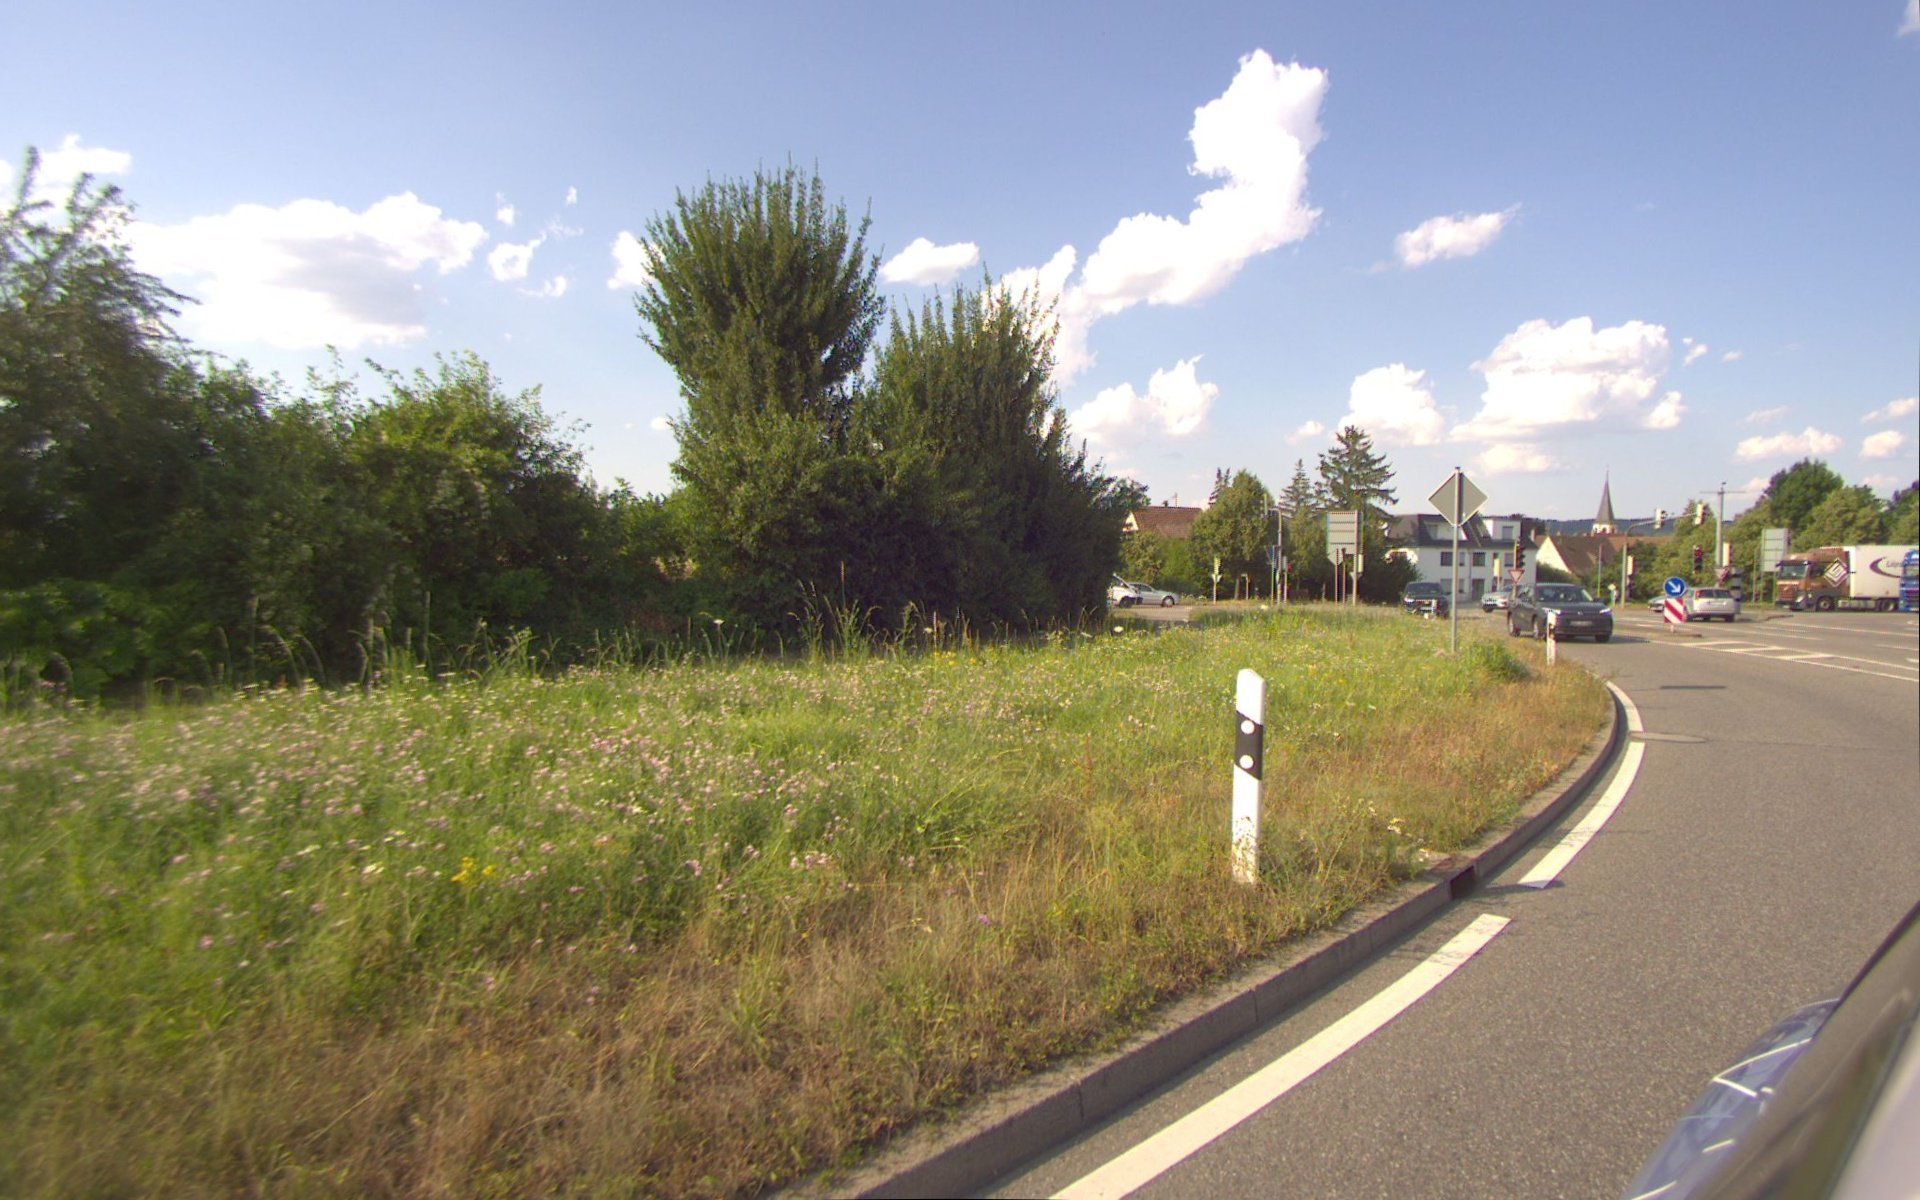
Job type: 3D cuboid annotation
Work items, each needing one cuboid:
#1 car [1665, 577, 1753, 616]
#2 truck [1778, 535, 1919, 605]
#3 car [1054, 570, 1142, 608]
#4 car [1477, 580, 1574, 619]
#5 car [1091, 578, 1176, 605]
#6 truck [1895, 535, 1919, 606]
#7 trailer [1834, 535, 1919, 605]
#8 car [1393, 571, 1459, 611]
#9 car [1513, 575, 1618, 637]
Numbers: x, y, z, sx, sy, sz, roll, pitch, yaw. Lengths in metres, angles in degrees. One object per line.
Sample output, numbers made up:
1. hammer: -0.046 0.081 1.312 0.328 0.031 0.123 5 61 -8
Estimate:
1. car: 32.455 -0.116 43.990 1.797 1.548 4.324 0 -2 19
2. truck: 54.026 -1.757 61.373 6.543 4.095 2.537 0 0 5
3. car: 7.744 -0.617 57.062 4.730 1.972 1.905 1 0 3
4. car: 30.766 -0.023 55.130 4.282 1.972 1.911 -2 -1 -11
5. car: 10.415 -0.499 61.117 4.863 1.533 1.861 0 0 3
6. truck: 57.416 -1.707 57.381 5.500 4.056 3.373 0 0 3
7. trailer: 61.023 -1.772 60.844 14.077 4.118 2.537 0 0 4
8. car: 20.533 -0.385 44.735 1.749 1.633 4.529 0 0 13
9. car: 17.519 0.161 29.492 1.766 1.650 4.440 -1 0 20
